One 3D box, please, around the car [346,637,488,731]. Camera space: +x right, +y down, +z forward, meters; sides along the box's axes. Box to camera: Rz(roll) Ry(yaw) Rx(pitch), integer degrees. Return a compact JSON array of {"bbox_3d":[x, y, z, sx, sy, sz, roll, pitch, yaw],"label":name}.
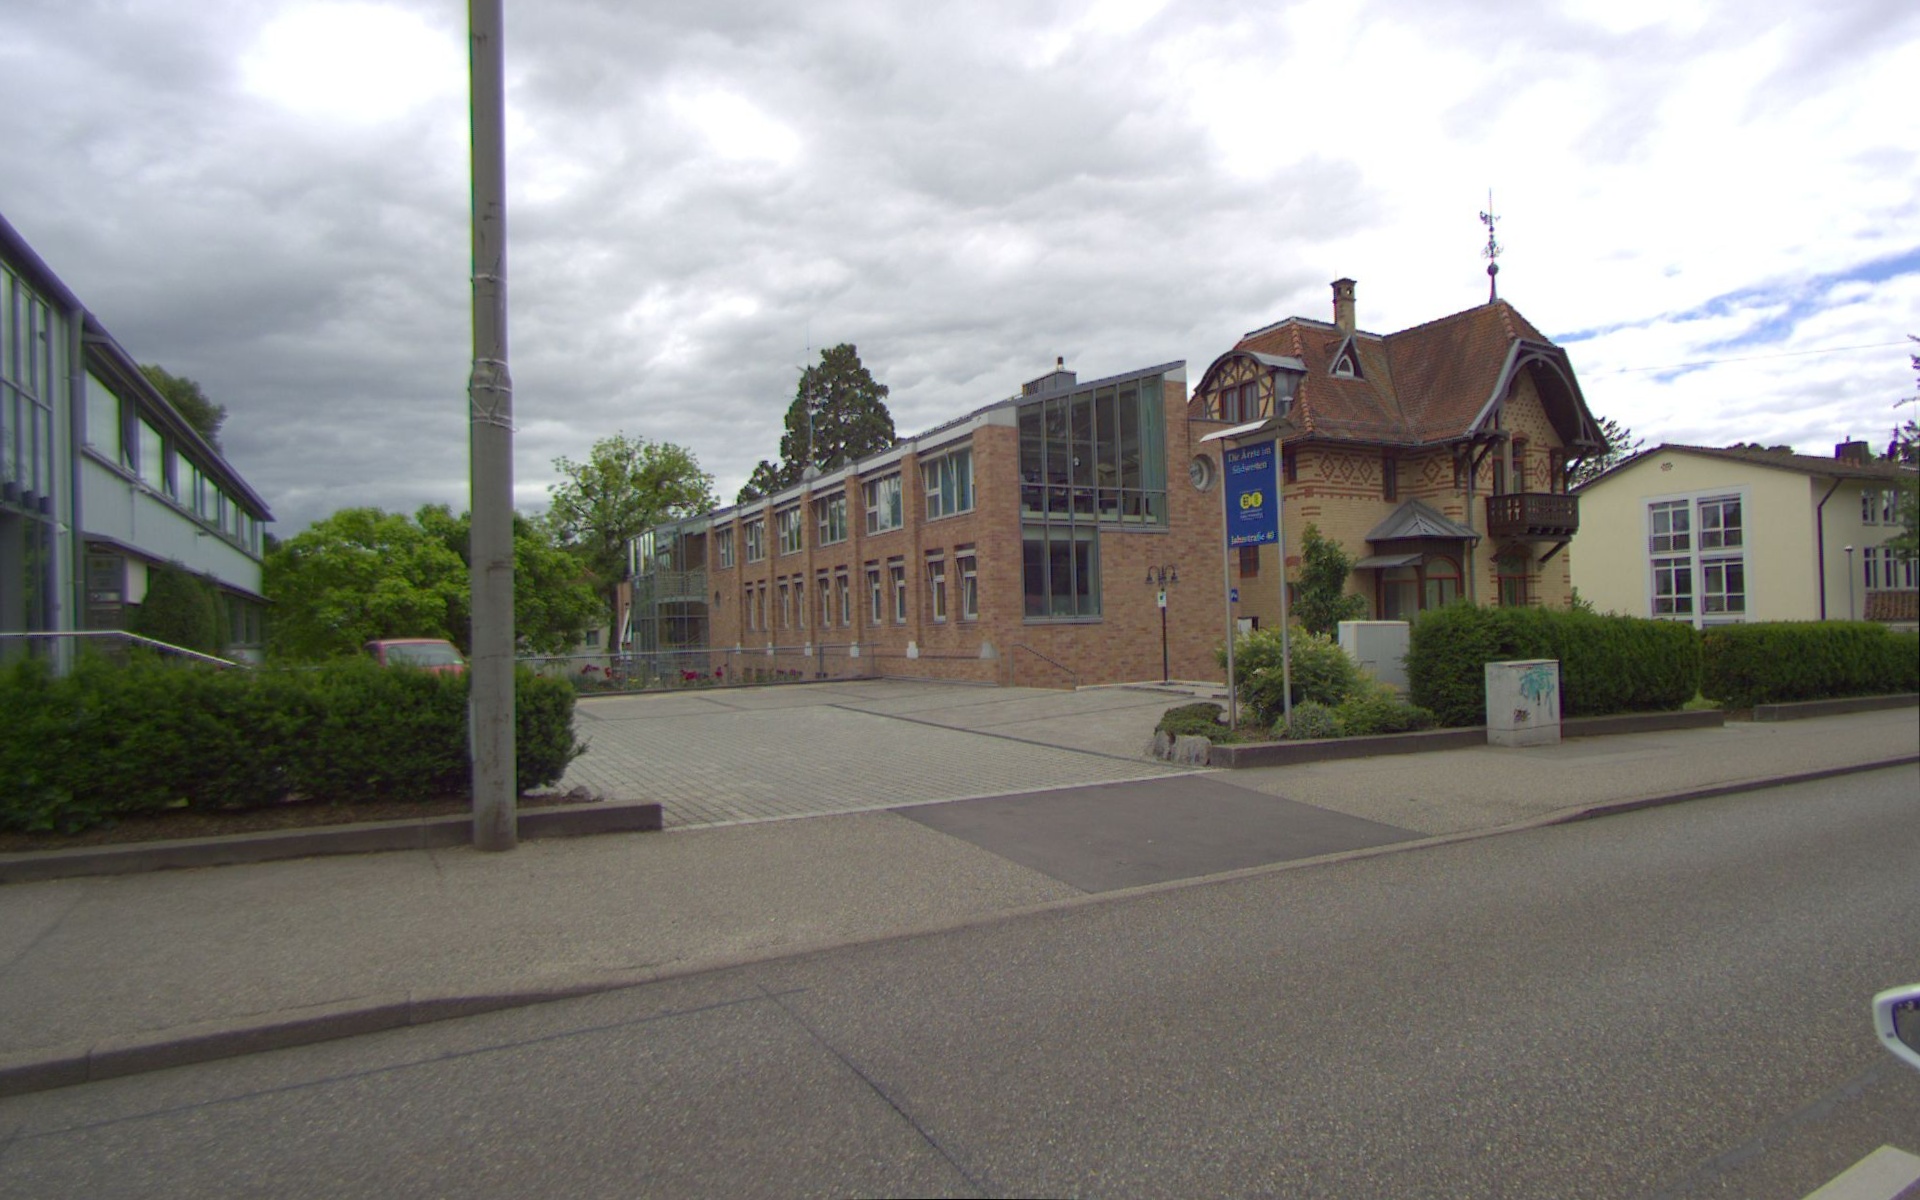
[{"bbox_3d":[-10.134,1.474,18.647,1.644,1.511,3.416,0,-2,-41],"label":"car"}]
